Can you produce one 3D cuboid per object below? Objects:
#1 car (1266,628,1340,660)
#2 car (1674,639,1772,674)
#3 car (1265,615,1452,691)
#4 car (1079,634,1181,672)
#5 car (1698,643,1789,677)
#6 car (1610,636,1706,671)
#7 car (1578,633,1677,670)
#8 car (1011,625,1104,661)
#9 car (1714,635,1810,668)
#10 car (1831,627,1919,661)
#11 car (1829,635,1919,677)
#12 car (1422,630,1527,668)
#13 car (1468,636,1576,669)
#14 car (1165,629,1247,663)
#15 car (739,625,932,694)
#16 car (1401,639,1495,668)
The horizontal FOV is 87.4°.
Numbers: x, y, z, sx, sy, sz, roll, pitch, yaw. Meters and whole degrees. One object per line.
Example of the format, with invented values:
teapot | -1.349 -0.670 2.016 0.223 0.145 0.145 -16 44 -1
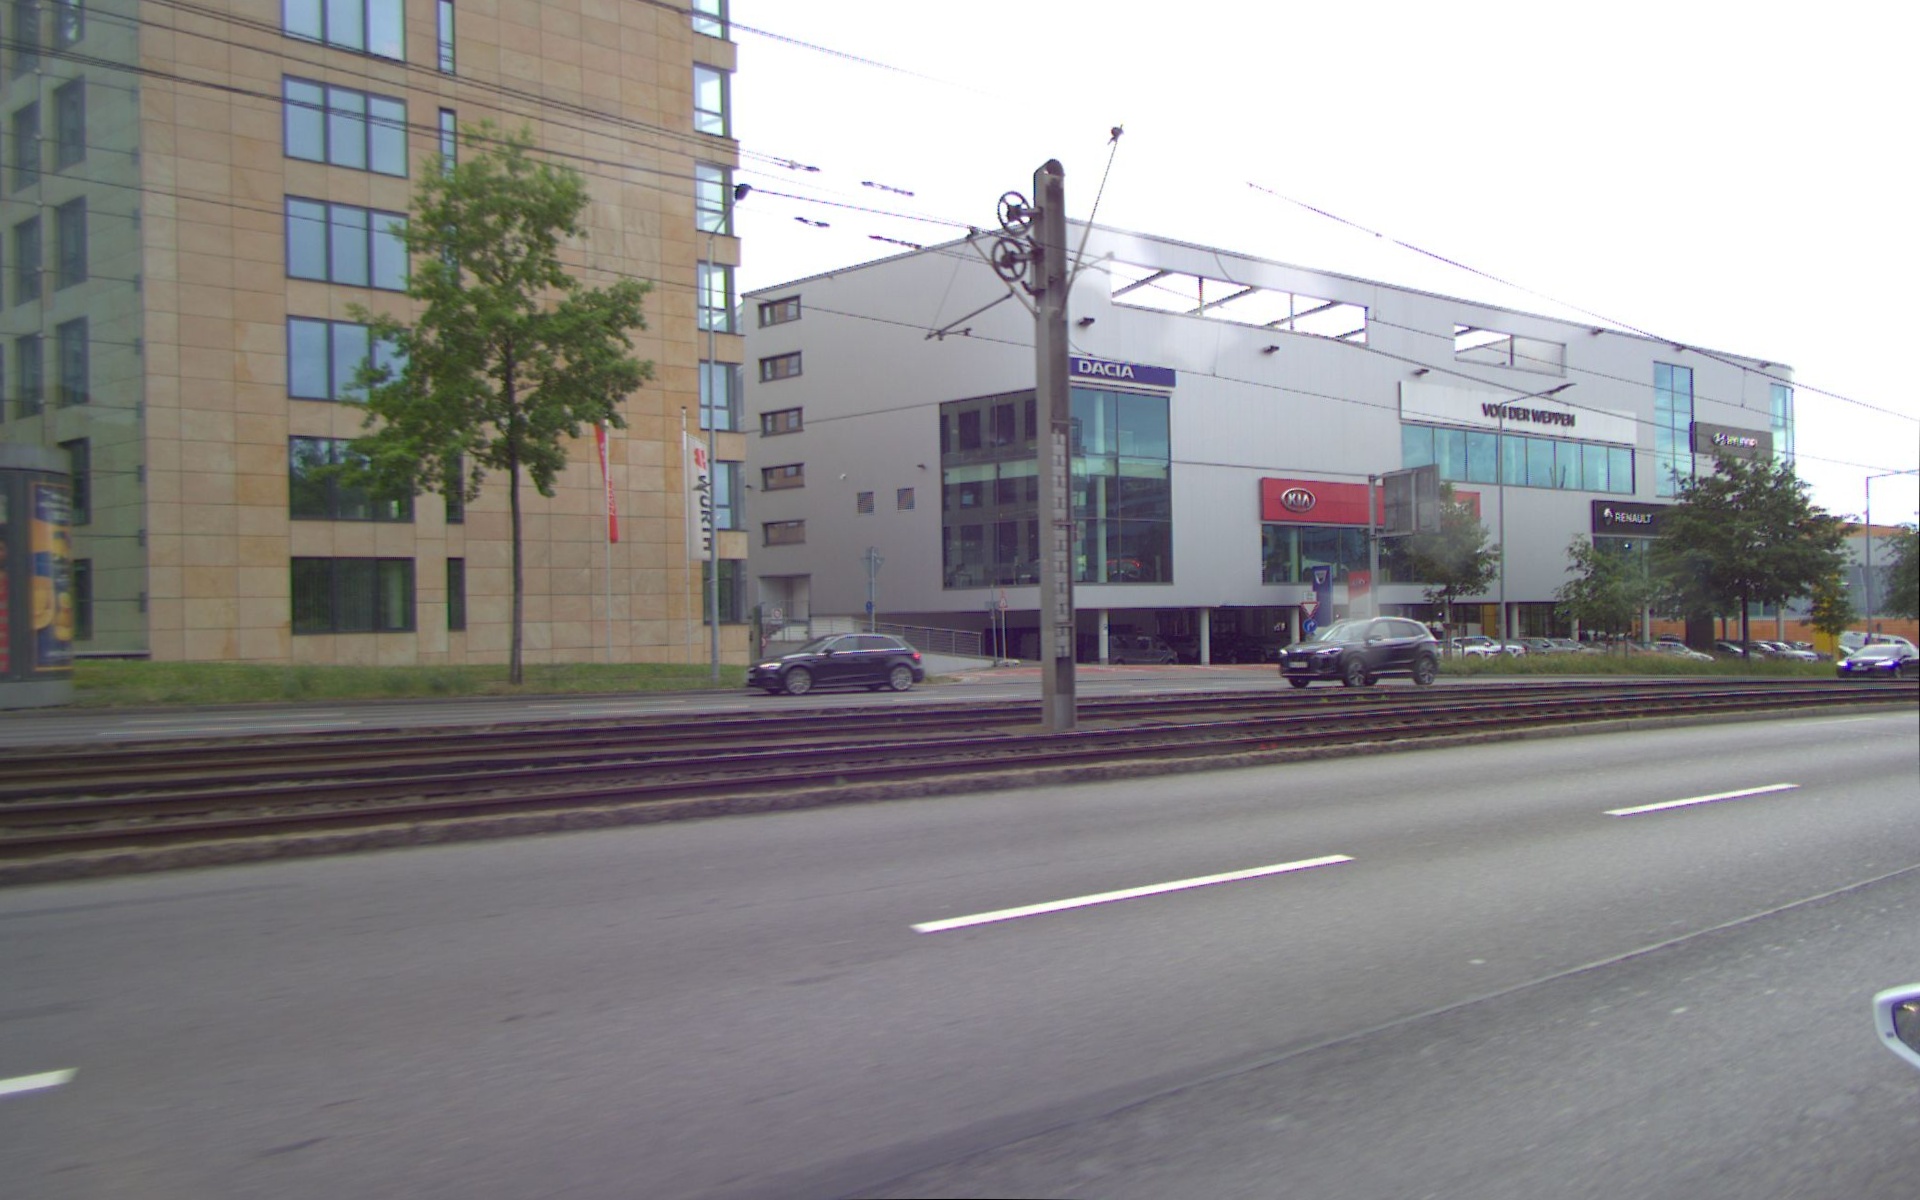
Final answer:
car | 22.583 2.890 66.039 4.791 1.936 1.983 2 -1 -32
car | 48.171 3.557 63.515 1.998 2.002 4.577 2 -2 -31
car | 9.513 1.273 23.932 4.333 1.637 1.797 3 -1 -29
car | 8.521 2.646 50.353 4.882 1.748 1.984 2 -1 -30
car | 50.602 3.874 64.943 1.854 2.002 4.325 2 -2 -31
car | 43.141 3.276 62.176 2.004 2.002 4.563 3 -2 -40
car | 39.035 3.013 58.771 4.554 2.002 2.008 0 -2 45
car | 5.340 2.352 54.782 4.885 1.815 1.983 2 -1 -32
car | 53.144 3.406 66.624 1.998 2.002 4.577 2 -2 -31
car | 69.171 3.315 75.510 2.002 2.343 5.263 3 -1 -38
car | 35.852 2.195 39.075 4.185 1.481 1.661 3 -1 -28
car | 27.153 2.561 53.104 4.575 1.851 2.008 0 -3 45
car | 31.451 2.927 56.262 4.951 1.675 2.008 0 -3 45
car | 14.992 2.823 61.097 4.885 1.936 1.983 2 -1 -32
car | -2.920 1.416 23.786 4.186 1.481 1.661 3 -1 -28
car | 25.097 2.746 51.700 4.258 1.324 1.869 0 -2 30
